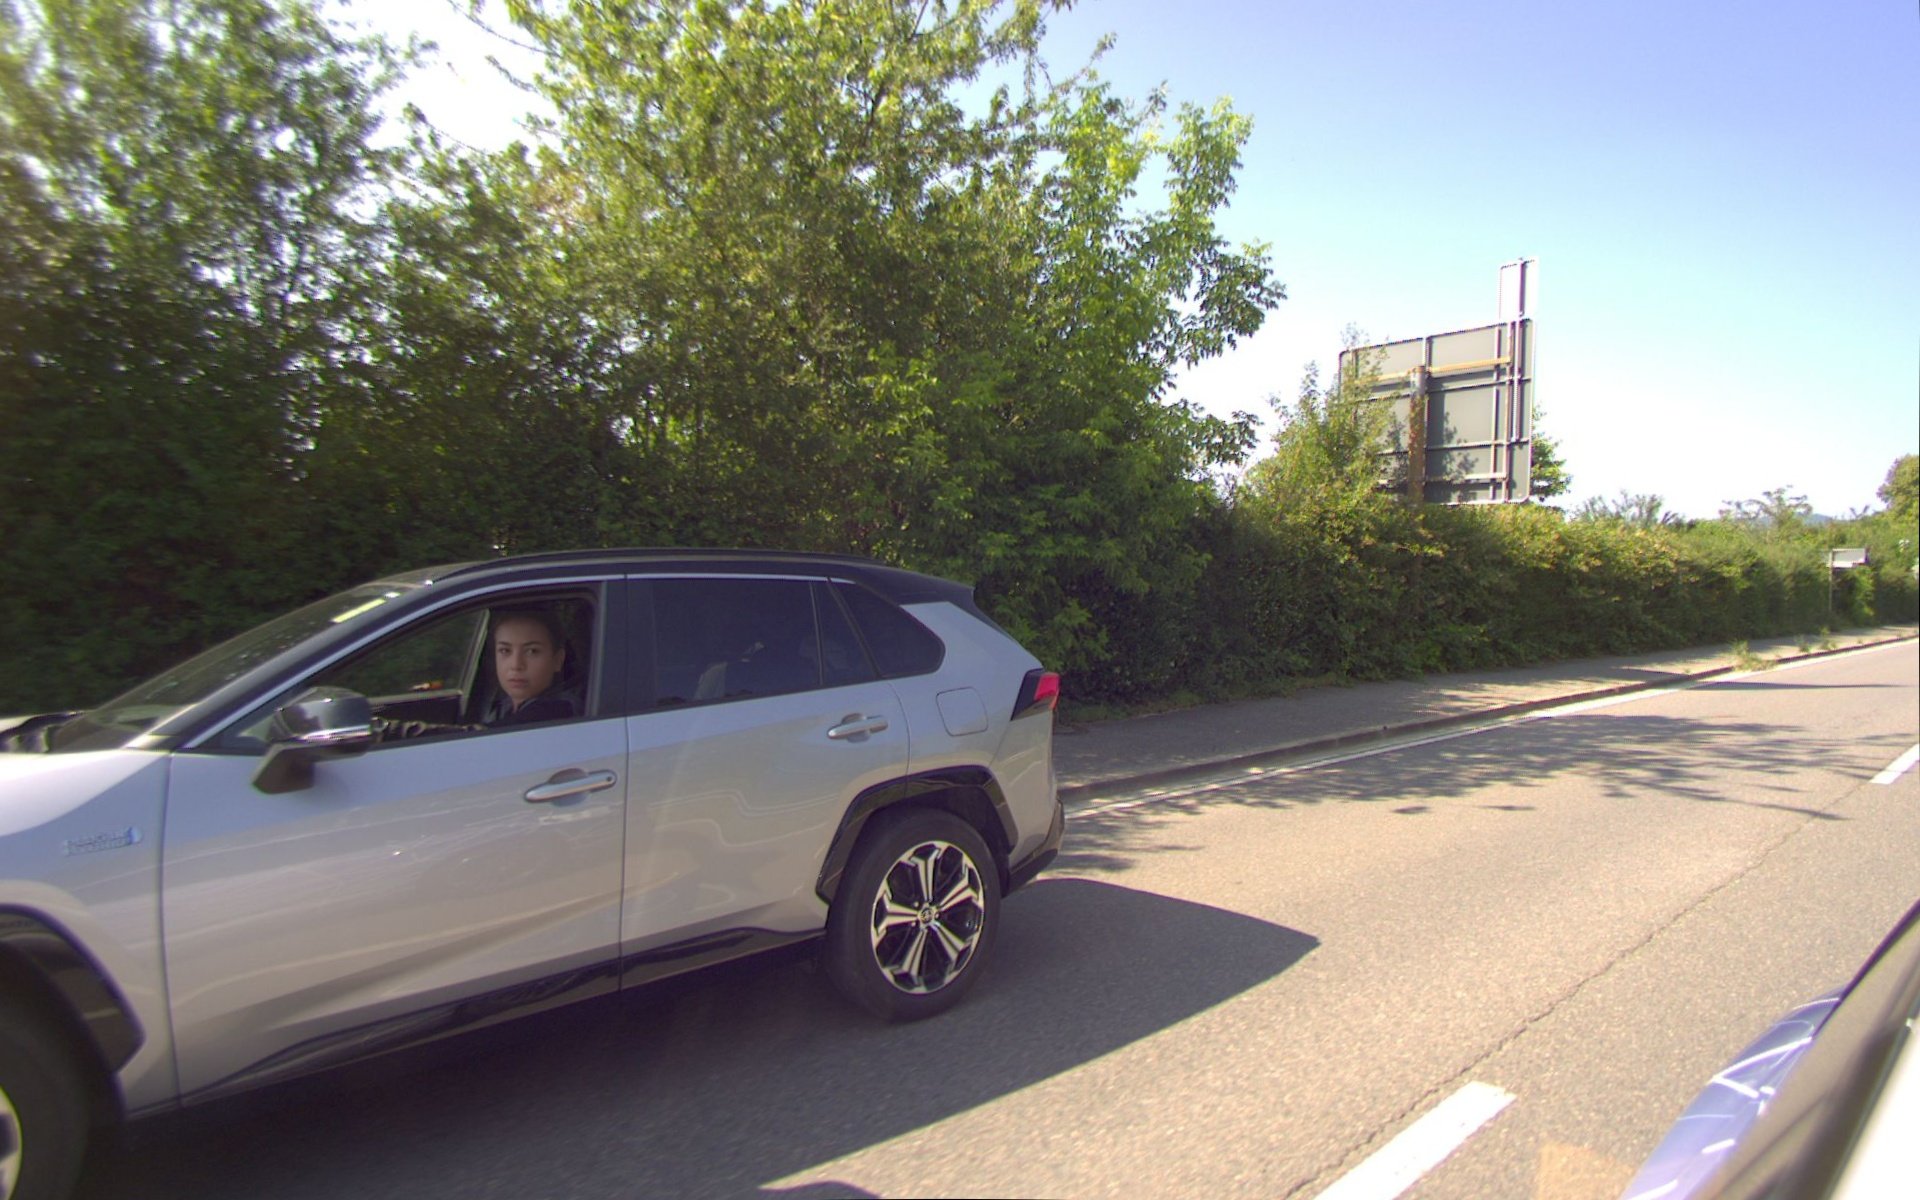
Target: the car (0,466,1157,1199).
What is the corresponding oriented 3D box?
[{"bbox_3d":[-1.510,0.587,3.599,4.600,1.701,1.905,0,0,-40],"label":"car"}]
